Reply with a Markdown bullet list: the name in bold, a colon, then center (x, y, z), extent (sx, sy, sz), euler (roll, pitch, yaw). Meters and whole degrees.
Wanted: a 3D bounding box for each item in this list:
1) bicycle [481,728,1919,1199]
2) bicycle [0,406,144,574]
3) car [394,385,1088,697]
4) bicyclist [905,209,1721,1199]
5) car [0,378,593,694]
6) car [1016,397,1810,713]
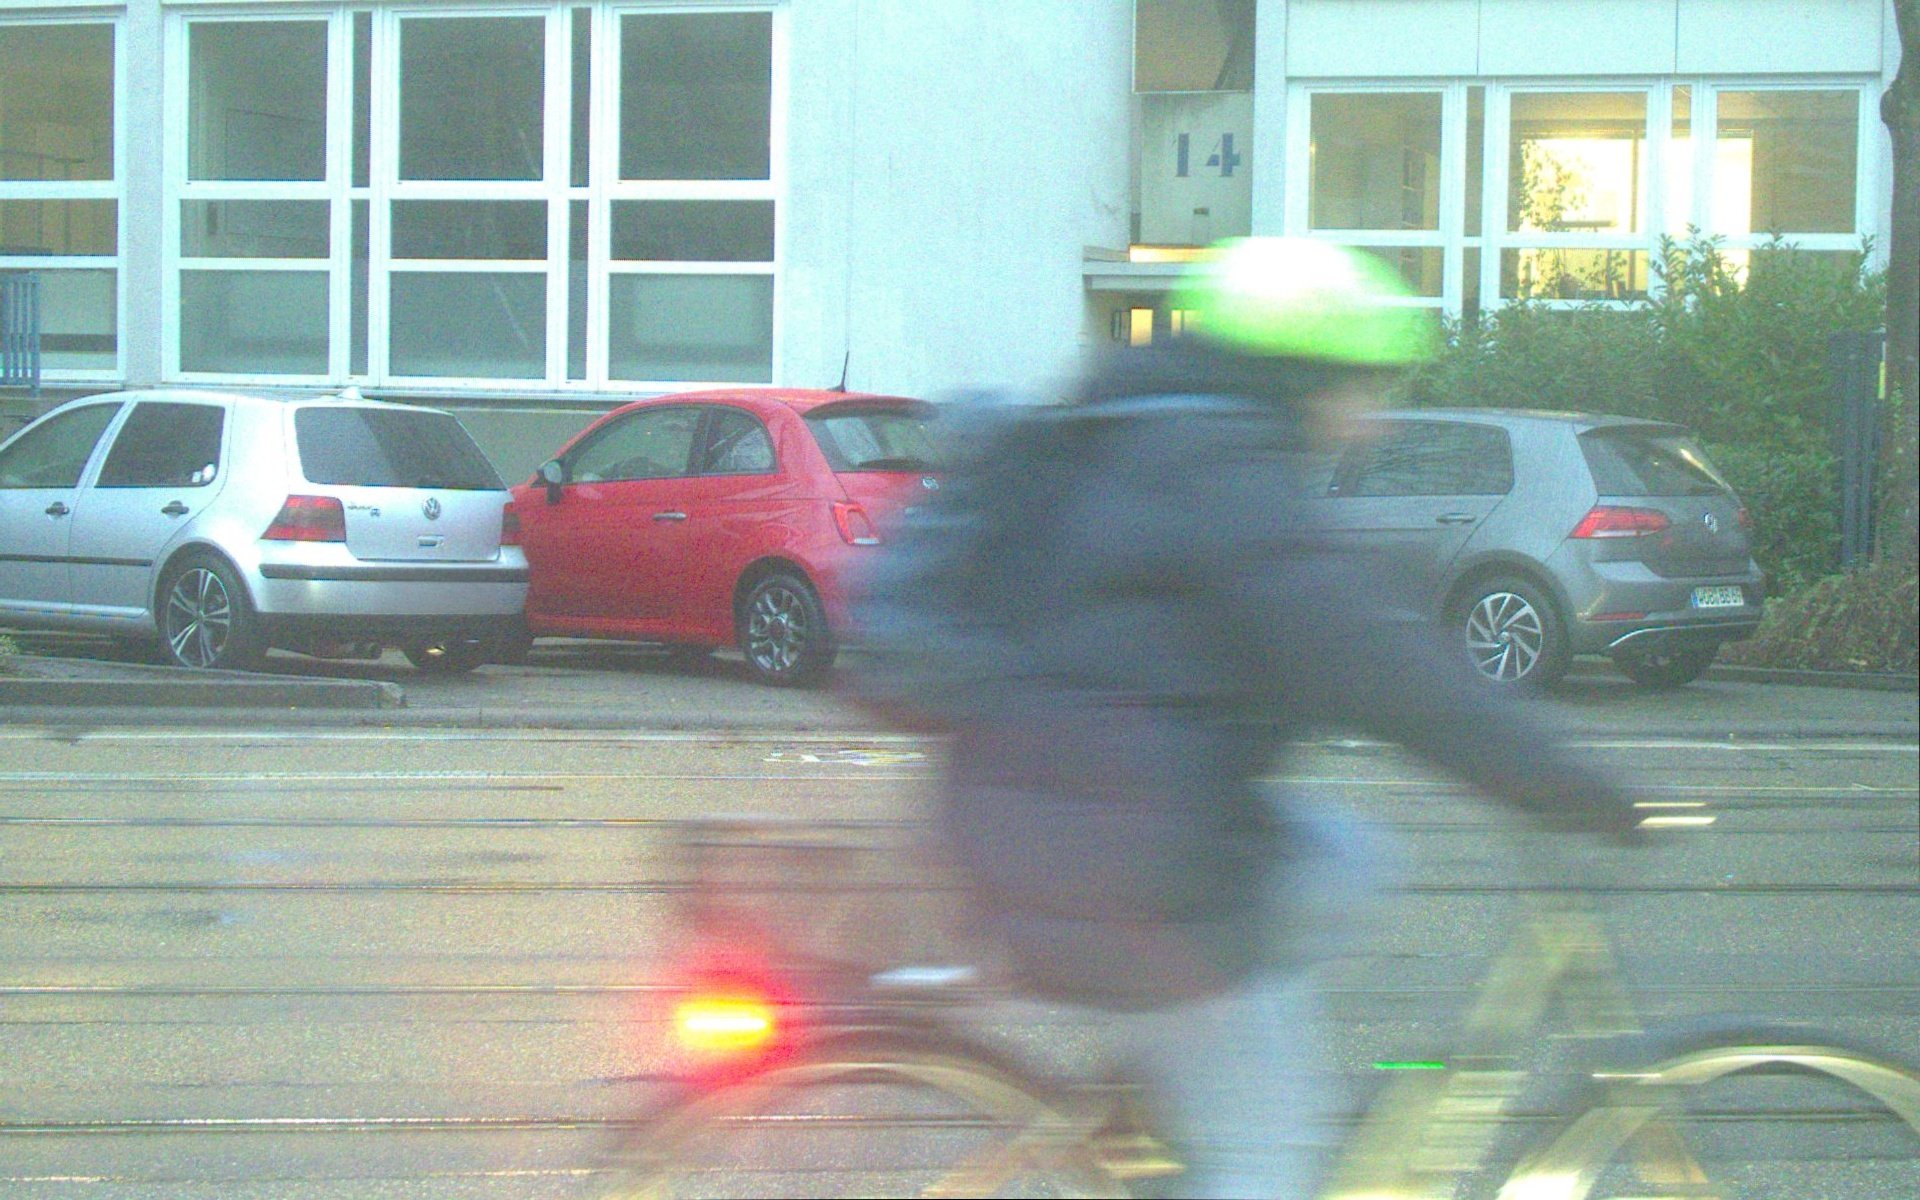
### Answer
- **bicycle**: center (0.464, 0.733, 4.137), extent (2.022, 1.093, 0.710), euler (0, 3, -4)
- **bicycle**: center (-6.477, -0.784, 23.793), extent (0.640, 1.116, 2.204), euler (1, 3, 15)
- **car**: center (-1.212, -0.382, 18.217), extent (3.448, 1.487, 1.725), euler (3, 4, 41)
- **bicyclist**: center (0.380, 0.282, 4.097), extent (0.846, 1.441, 0.658), euler (0, 3, -4)
- **car**: center (-3.961, -0.404, 17.632), extent (3.996, 1.441, 1.789), euler (3, 4, 37)
- **car**: center (2.334, -0.317, 18.248), extent (3.850, 1.487, 1.692), euler (3, 4, 39)
